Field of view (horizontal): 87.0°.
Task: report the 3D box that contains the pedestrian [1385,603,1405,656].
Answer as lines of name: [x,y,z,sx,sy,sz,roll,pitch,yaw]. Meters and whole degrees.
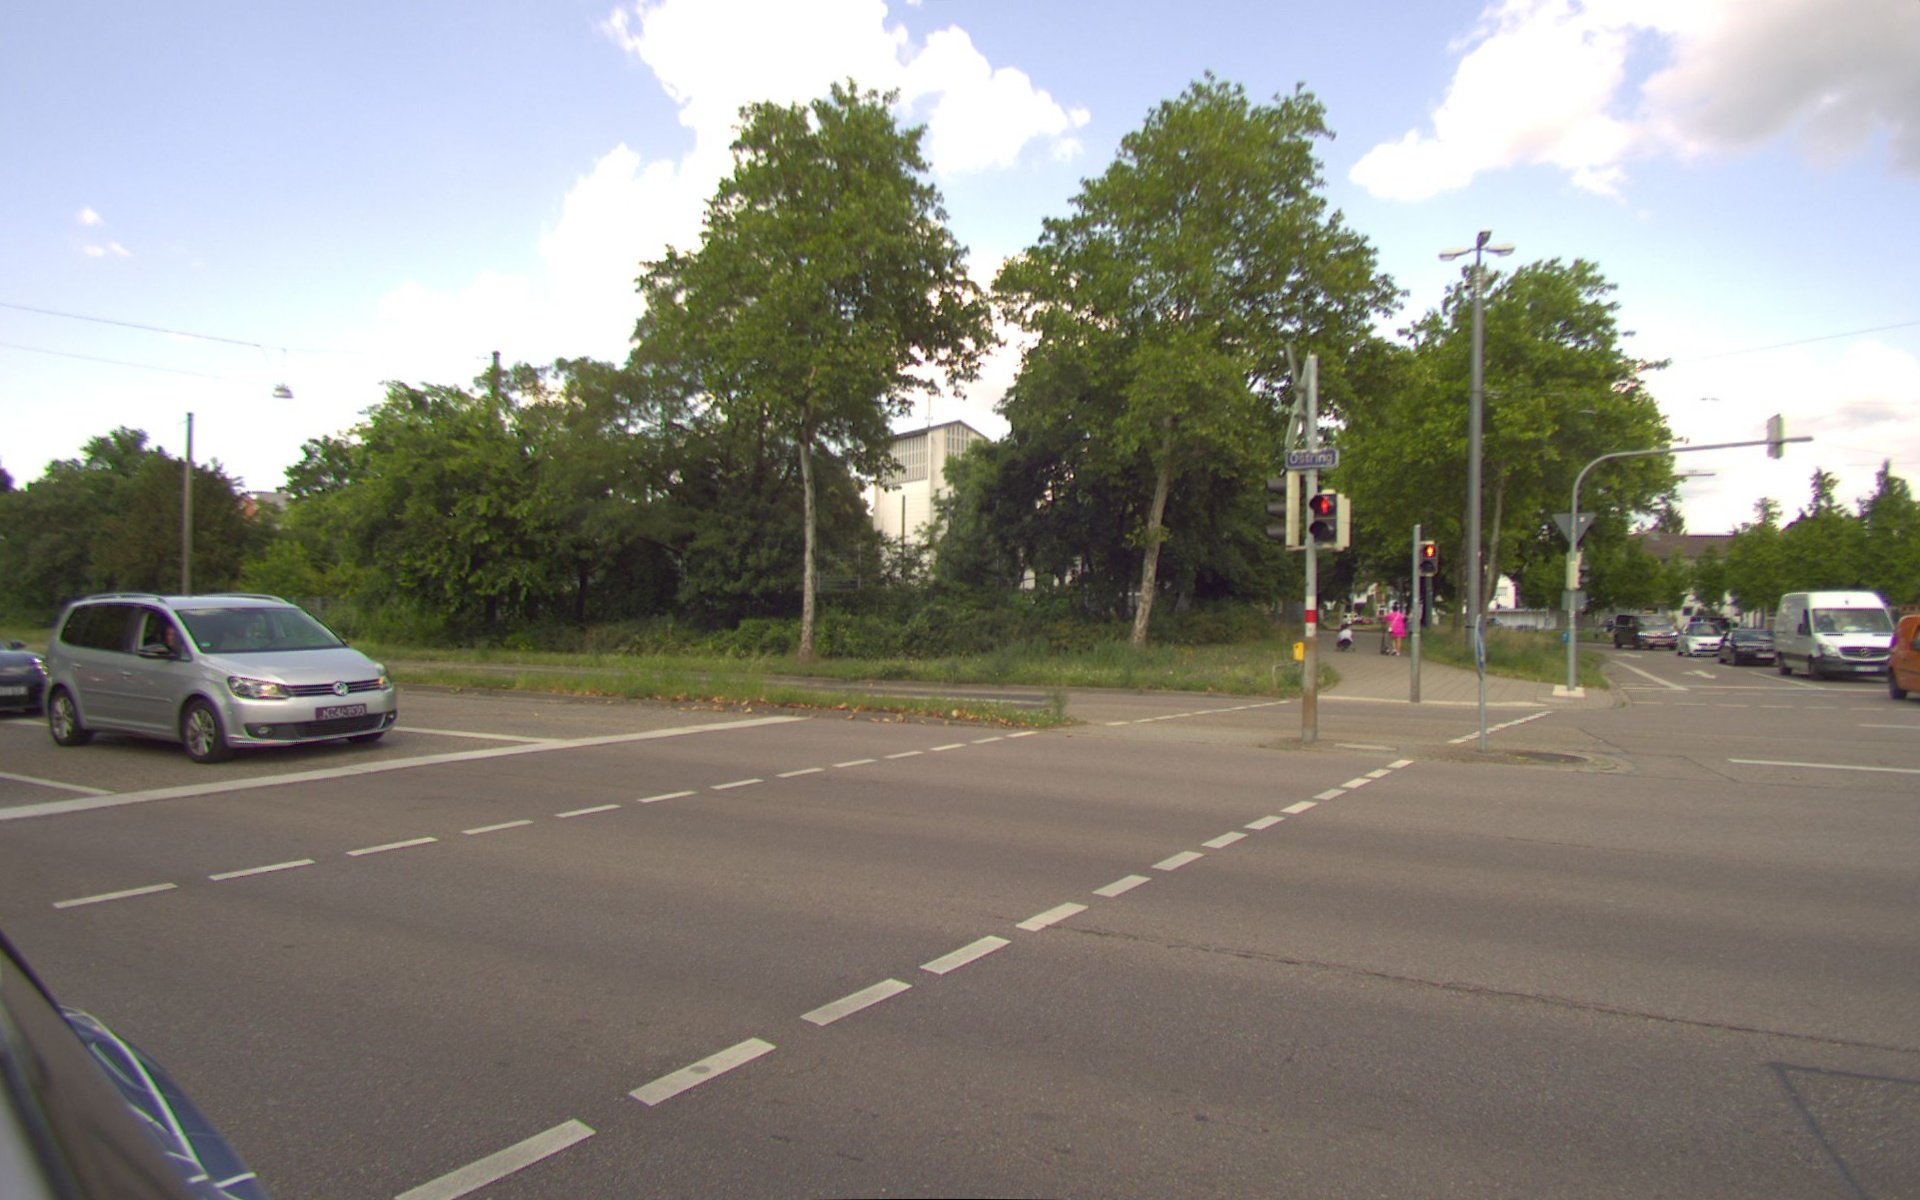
pedestrian: [13.472,0.916,31.335,0.421,1.631,0.589,-1,-2,35]

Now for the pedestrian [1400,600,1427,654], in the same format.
pedestrian: [13.786,0.815,30.736,0.631,1.631,0.603,-1,-2,35]

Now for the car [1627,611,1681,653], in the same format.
car: [37.719,1.696,55.127,1.846,2.172,4.342,0,-1,27]

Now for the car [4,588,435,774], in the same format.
car: [-8.015,0.715,10.919,4.478,1.664,1.914,0,1,26]

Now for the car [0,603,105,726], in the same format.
car: [-13.822,0.828,13.922,3.981,1.519,1.788,0,1,28]

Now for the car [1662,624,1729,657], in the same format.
car: [33.867,1.836,46.699,1.802,1.442,4.342,0,-1,27]

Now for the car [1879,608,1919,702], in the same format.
car: [19.468,1.061,19.331,1.876,1.813,4.326,0,-1,30]

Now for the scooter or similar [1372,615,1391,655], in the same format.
scooter or similar: [13.177,1.094,31.654,0.321,1.241,0.766,-3,-3,37]

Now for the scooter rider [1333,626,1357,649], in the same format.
scooter rider: [12.475,1.212,32.762,0.609,0.734,0.851,-2,-2,27]

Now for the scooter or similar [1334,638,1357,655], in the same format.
scooter or similar: [12.476,1.516,32.749,0.608,0.515,0.850,-2,-2,27]

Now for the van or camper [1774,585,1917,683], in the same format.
van or camper: [25.488,0.949,29.390,1.975,2.543,5.974,0,-1,30]

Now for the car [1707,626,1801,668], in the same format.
car: [29.675,1.703,37.959,1.801,1.442,4.431,0,-1,25]
